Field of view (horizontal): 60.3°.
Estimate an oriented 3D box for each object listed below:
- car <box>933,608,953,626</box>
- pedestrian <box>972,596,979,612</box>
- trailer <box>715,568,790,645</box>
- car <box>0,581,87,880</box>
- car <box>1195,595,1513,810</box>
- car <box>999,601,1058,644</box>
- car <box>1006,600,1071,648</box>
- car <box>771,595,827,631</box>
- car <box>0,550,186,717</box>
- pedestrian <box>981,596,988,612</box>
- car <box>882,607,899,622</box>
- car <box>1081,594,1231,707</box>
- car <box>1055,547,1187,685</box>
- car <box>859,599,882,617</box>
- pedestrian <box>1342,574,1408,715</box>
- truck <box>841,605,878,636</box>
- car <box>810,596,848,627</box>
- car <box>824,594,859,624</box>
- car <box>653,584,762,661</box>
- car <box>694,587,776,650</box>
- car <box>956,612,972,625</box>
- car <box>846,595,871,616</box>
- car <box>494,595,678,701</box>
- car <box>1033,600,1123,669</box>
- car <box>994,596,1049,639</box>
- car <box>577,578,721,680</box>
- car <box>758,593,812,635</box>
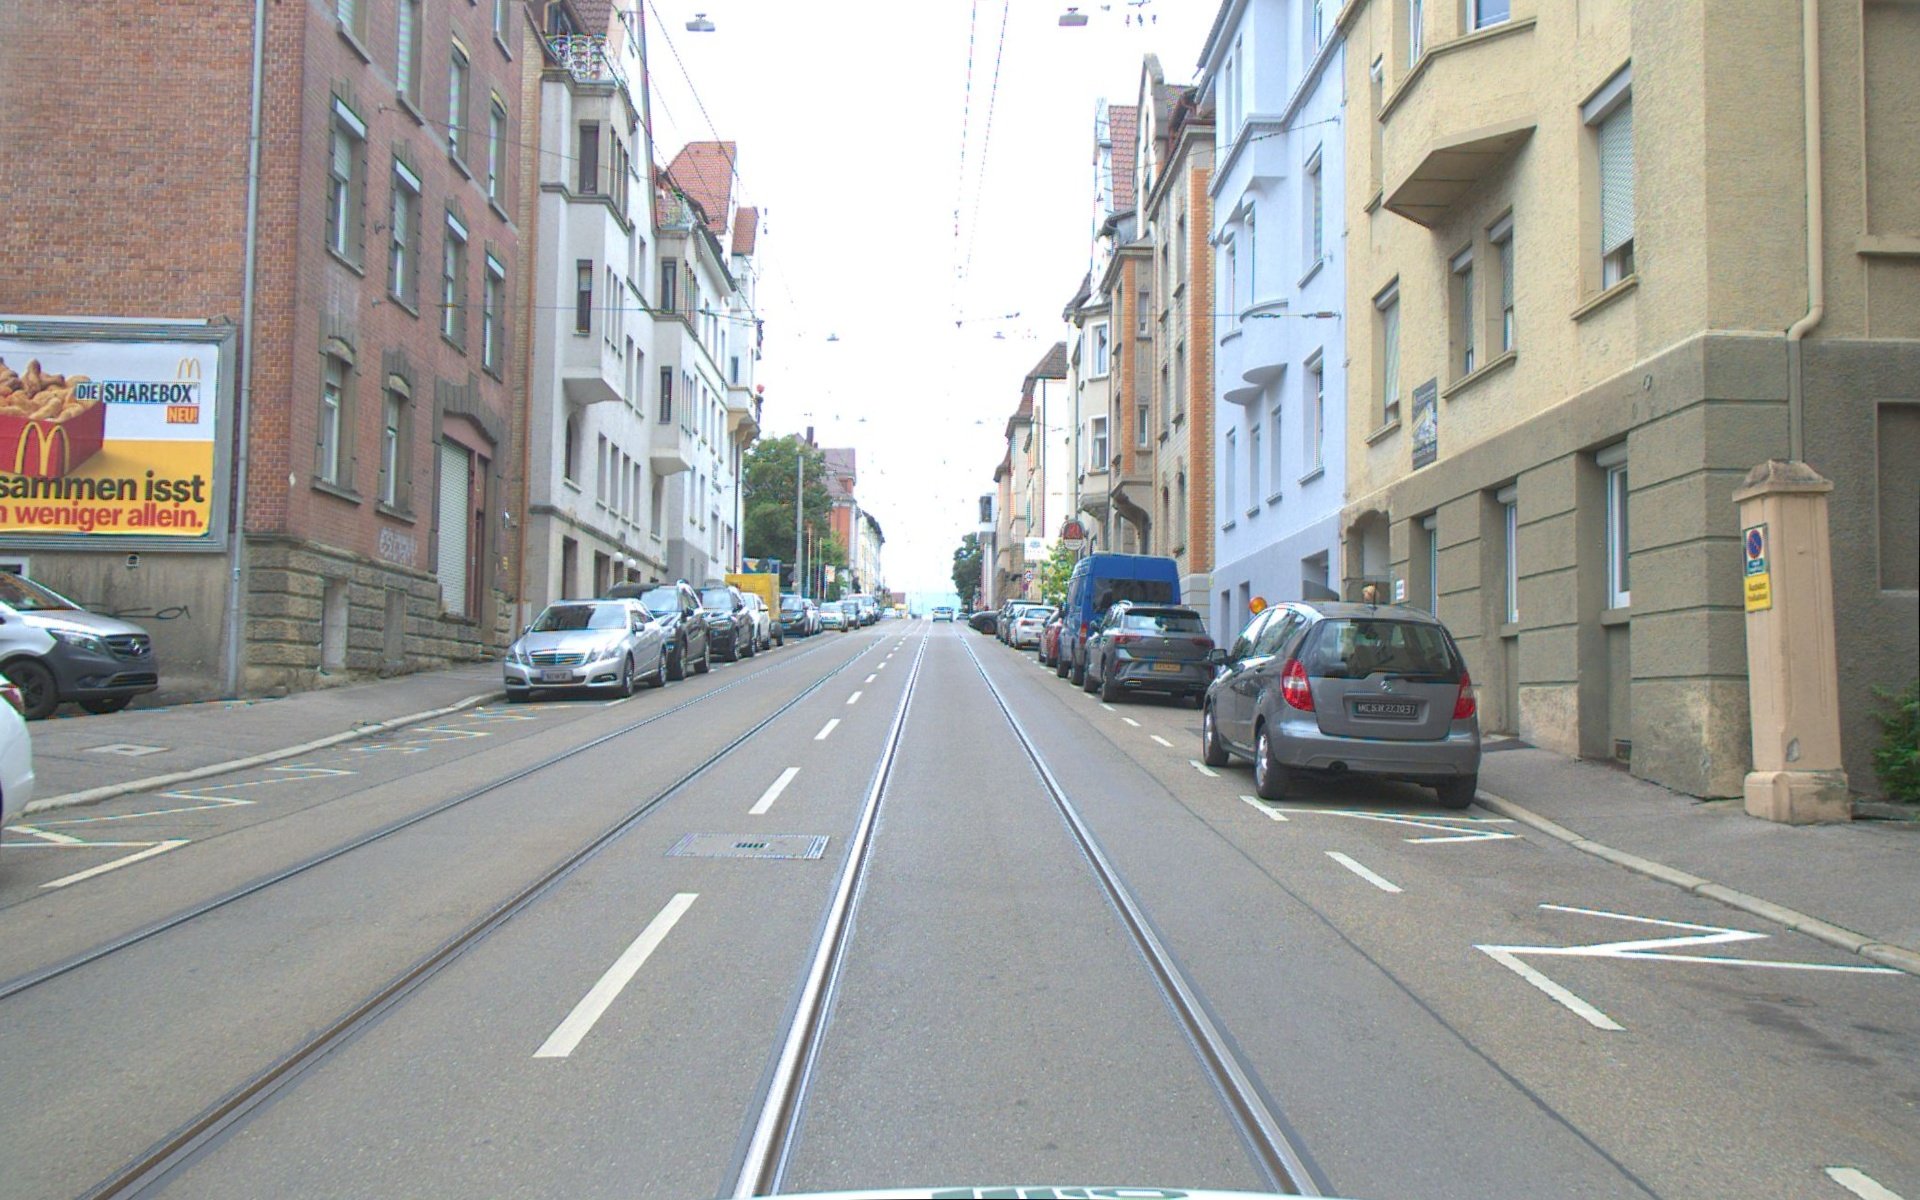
[{"bbox_3d":[-1.534,1.491,148.018,1.638,1.539,3.796,1,0,-2],"label":"car"},{"bbox_3d":[1.645,0.411,174.386,0.775,1.696,0.799,1,0,1],"label":"pedestrian"},{"bbox_3d":[-6.209,0.176,49.868,1.713,2.193,4.071,-1,0,0],"label":"trailer"},{"bbox_3d":[-5.517,0.683,6.557,1.791,1.454,4.625,-3,0,-3],"label":"car"},{"bbox_3d":[3.316,0.783,14.741,1.790,1.545,4.027,3,0,0],"label":"car"},{"bbox_3d":[2.490,0.812,60.802,1.744,1.415,4.690,3,0,-2],"label":"car"},{"bbox_3d":[2.535,0.757,53.999,1.715,1.415,4.306,3,0,-2],"label":"car"},{"bbox_3d":[-6.456,0.522,66.670,1.743,1.381,4.291,1,0,1],"label":"car"},{"bbox_3d":[-12.080,0.412,19.344,5.073,1.850,1.939,-1,0,-5],"label":"car"},{"bbox_3d":[2.582,0.426,174.477,0.775,1.696,0.799,1,0,1],"label":"pedestrian"},{"bbox_3d":[-8.085,1.699,193.669,1.817,1.635,4.296,1,0,-1],"label":"car"},{"bbox_3d":[3.089,0.770,26.863,1.744,1.557,4.191,4,0,-2],"label":"car"},{"bbox_3d":[3.031,0.307,32.159,1.953,2.418,5.055,1,-1,-1],"label":"car"},{"bbox_3d":[-7.579,0.670,140.573,1.677,1.472,4.289,1,0,0],"label":"car"},{"bbox_3d":[5.177,0.554,20.660,0.530,1.711,0.515,-3,-3,-9],"label":"pedestrian"},{"bbox_3d":[-7.620,1.505,125.550,2.233,2.226,8.024,1,0,0],"label":"truck"},{"bbox_3d":[-7.059,0.621,89.218,1.662,1.583,3.850,1,0,1],"label":"car"},{"bbox_3d":[-7.198,0.524,100.503,1.708,1.766,4.519,-1,0,1],"label":"car"},{"bbox_3d":[-5.954,0.484,39.471,1.835,1.693,4.891,-1,0,0],"label":"car"},{"bbox_3d":[-6.163,0.472,45.724,1.662,1.621,4.268,-1,0,0],"label":"car"},{"bbox_3d":[0.503,2.324,211.978,1.953,1.590,4.289,1,0,0],"label":"car"},{"bbox_3d":[-7.288,0.365,118.805,1.663,1.458,4.479,-1,0,-2],"label":"car"},{"bbox_3d":[-5.735,0.669,25.962,1.790,1.454,4.839,-1,0,0],"label":"car"},{"bbox_3d":[2.857,0.816,40.917,1.744,1.501,4.588,3,0,-1],"label":"car"},{"bbox_3d":[2.394,0.666,65.629,1.700,1.564,4.571,3,0,-3],"label":"car"},{"bbox_3d":[-5.786,0.496,31.373,1.790,1.748,4.913,-1,0,0],"label":"car"},{"bbox_3d":[-6.456,0.508,61.360,1.662,1.494,3.023,-1,0,0],"label":"car"}]
